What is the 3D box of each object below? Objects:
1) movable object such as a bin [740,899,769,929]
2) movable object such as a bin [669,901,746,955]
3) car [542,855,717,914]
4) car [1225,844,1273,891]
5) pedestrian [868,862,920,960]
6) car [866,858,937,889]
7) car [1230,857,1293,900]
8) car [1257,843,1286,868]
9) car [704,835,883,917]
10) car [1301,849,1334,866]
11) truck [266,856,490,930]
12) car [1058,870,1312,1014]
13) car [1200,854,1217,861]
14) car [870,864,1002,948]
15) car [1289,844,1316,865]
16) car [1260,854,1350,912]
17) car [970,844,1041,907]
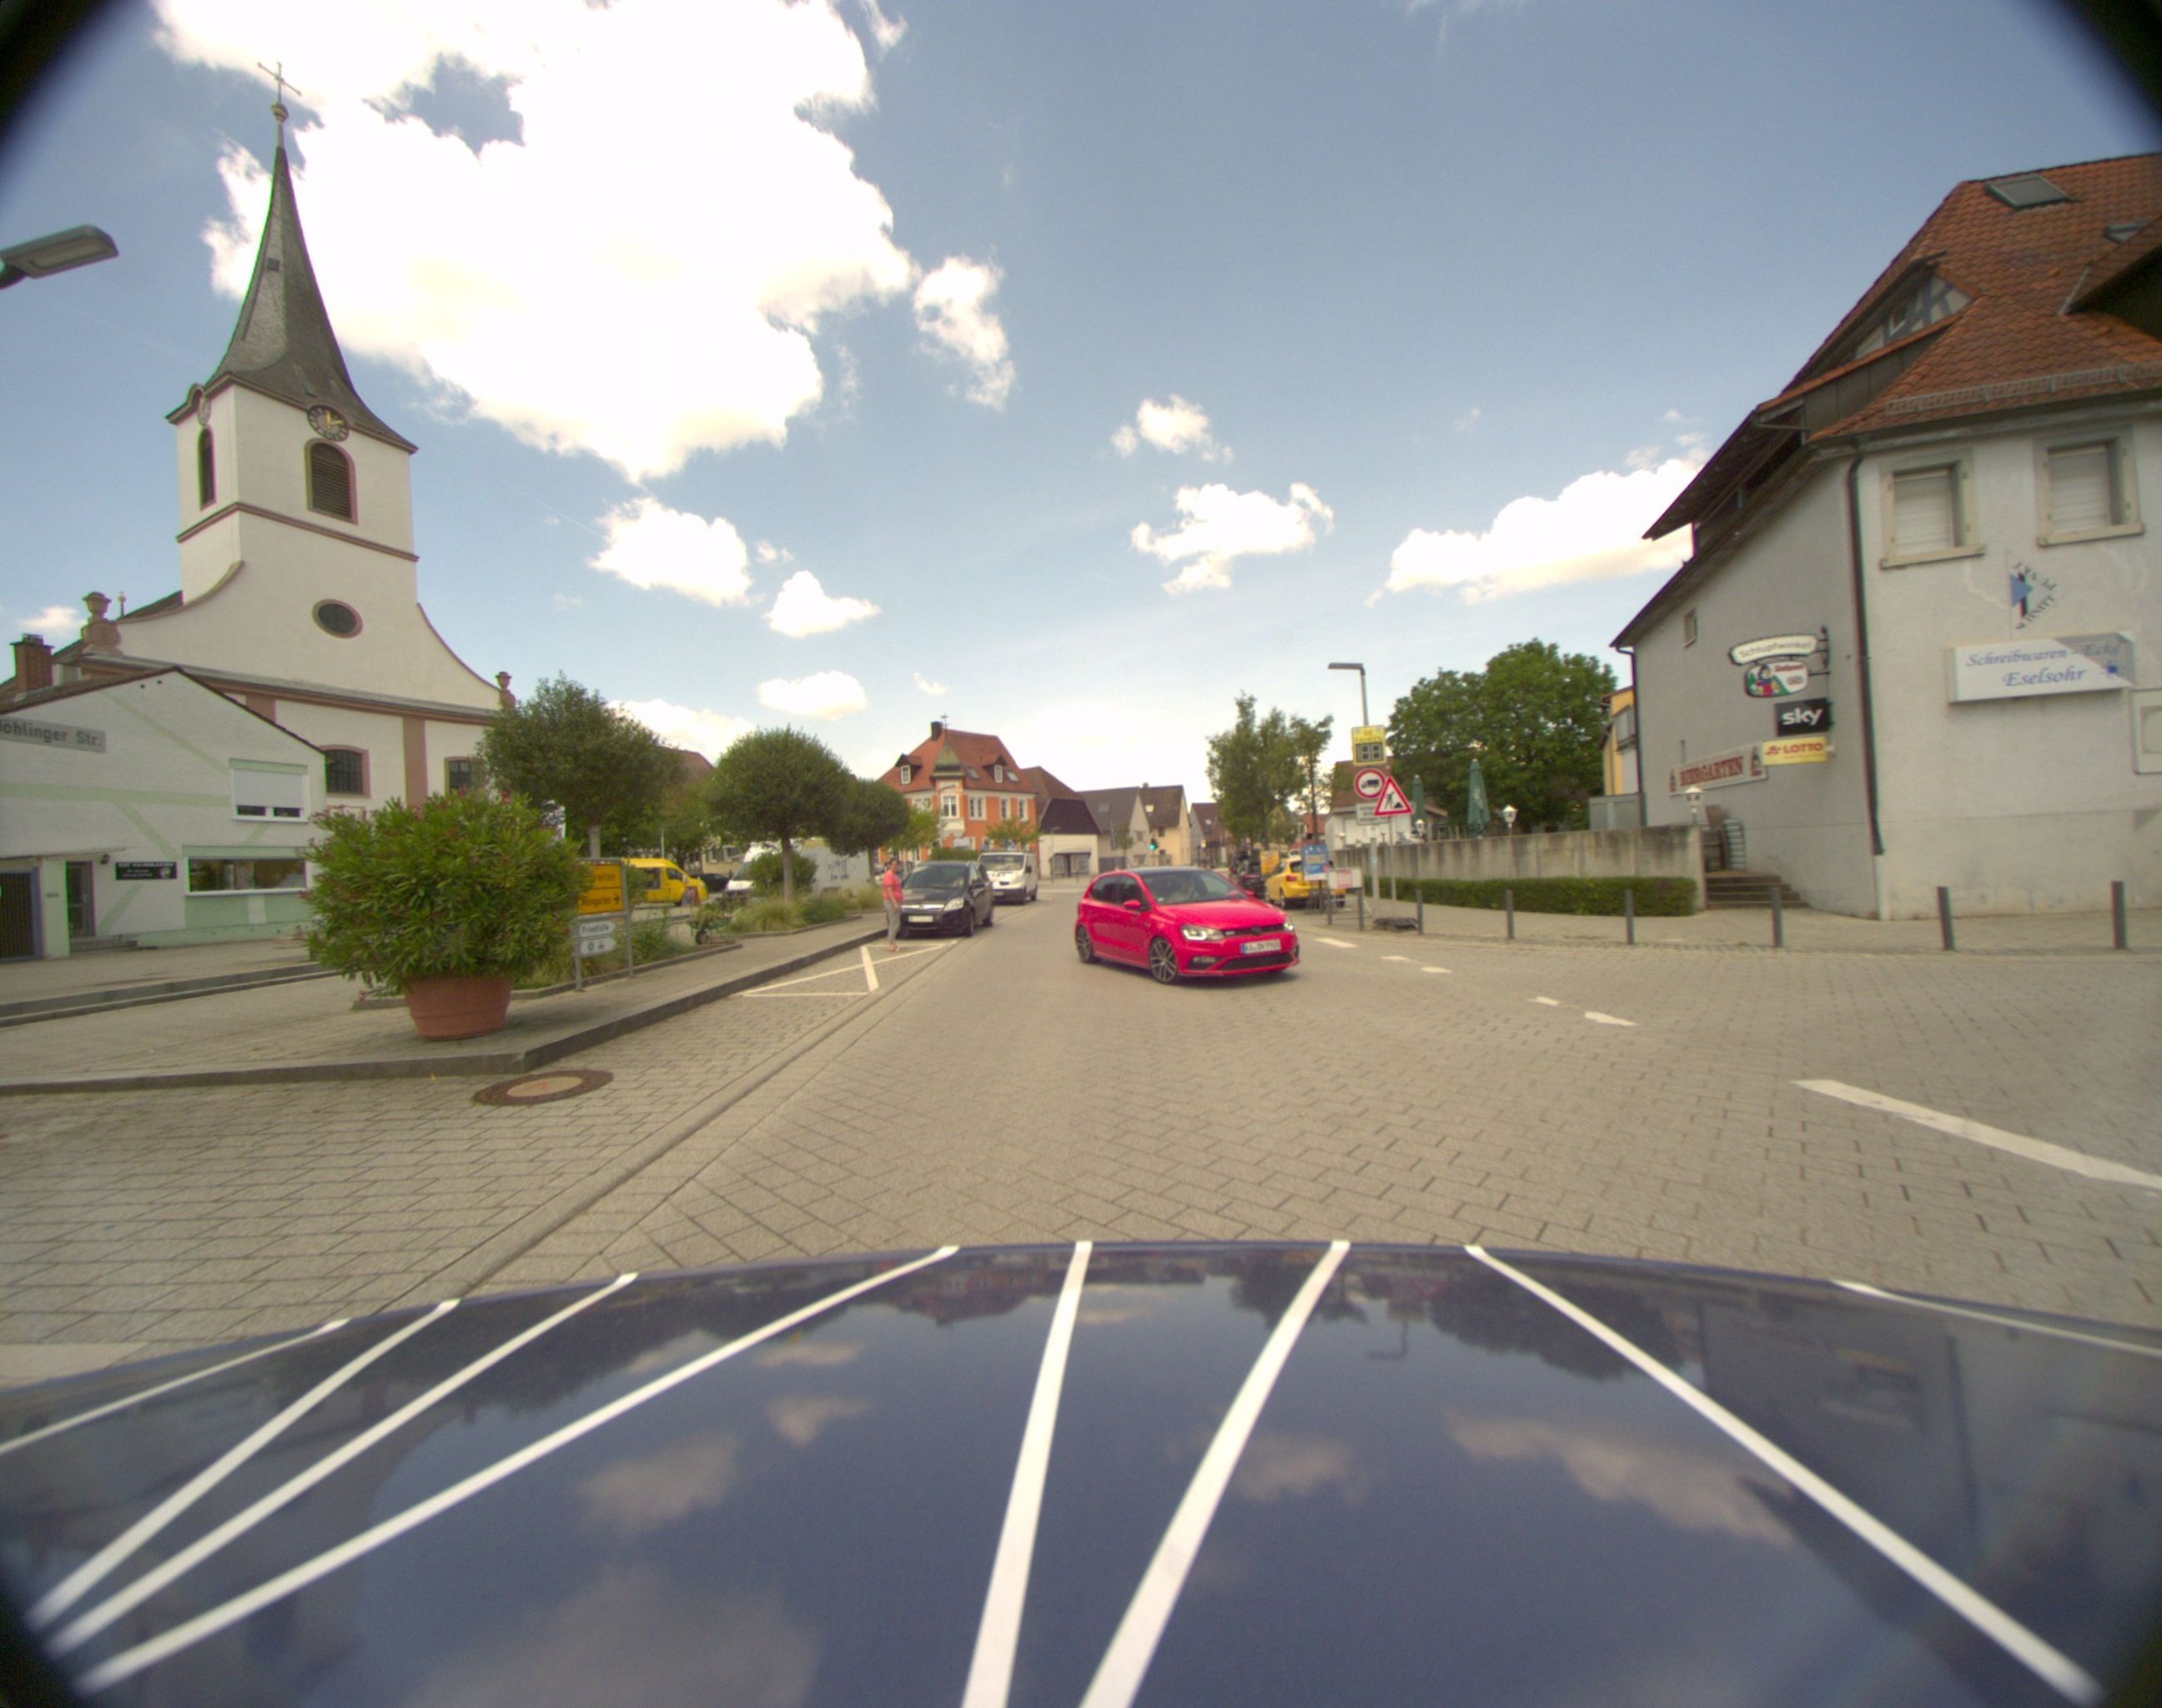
[{"bbox_3d":[-8.483,1.550,19.749,0.566,0.728,0.391,-2,0,6],"label":"movable object such as a bin"},{"bbox_3d":[-7.067,1.377,14.453,0.736,0.861,1.436,-3,0,-1],"label":"movable object such as a bin"},{"bbox_3d":[-22.082,1.405,37.418,6.978,2.462,2.647,-2,0,-41],"label":"car"},{"bbox_3d":[7.831,0.605,35.855,1.990,1.978,5.048,-3,0,11],"label":"car"},{"bbox_3d":[-3.222,0.969,13.135,0.640,1.619,0.620,-2,0,5],"label":"pedestrian"},{"bbox_3d":[-13.081,1.394,55.766,1.995,2.001,5.504,-3,0,24],"label":"car"},{"bbox_3d":[6.677,0.860,28.498,1.819,1.415,4.540,-3,0,8],"label":"car"},{"bbox_3d":[17.770,0.129,70.656,1.889,2.173,5.038,-2,0,22],"label":"car"},{"bbox_3d":[-11.438,0.762,31.095,2.755,2.946,7.123,-1,1,20],"label":"car"},{"bbox_3d":[22.639,0.285,72.615,1.733,1.482,4.509,-2,0,34],"label":"car"},{"bbox_3d":[-26.789,1.465,29.037,6.812,2.483,2.961,-3,0,14],"label":"truck"},{"bbox_3d":[1.131,0.977,10.129,1.785,1.403,3.882,-3,0,-18],"label":"car"},{"bbox_3d":[23.830,0.658,141.838,1.804,1.053,3.997,-2,0,-10],"label":"car"},{"bbox_3d":[-3.019,1.015,16.800,1.773,1.555,4.420,0,0,4],"label":"car"},{"bbox_3d":[23.252,0.027,79.679,1.660,2.002,4.008,-2,0,33],"label":"car"},{"bbox_3d":[6.384,0.778,22.058,1.672,1.466,3.964,-2,0,5],"label":"car"},{"bbox_3d":[-2.754,0.764,29.052,1.947,2.164,5.102,0,0,3],"label":"car"}]
